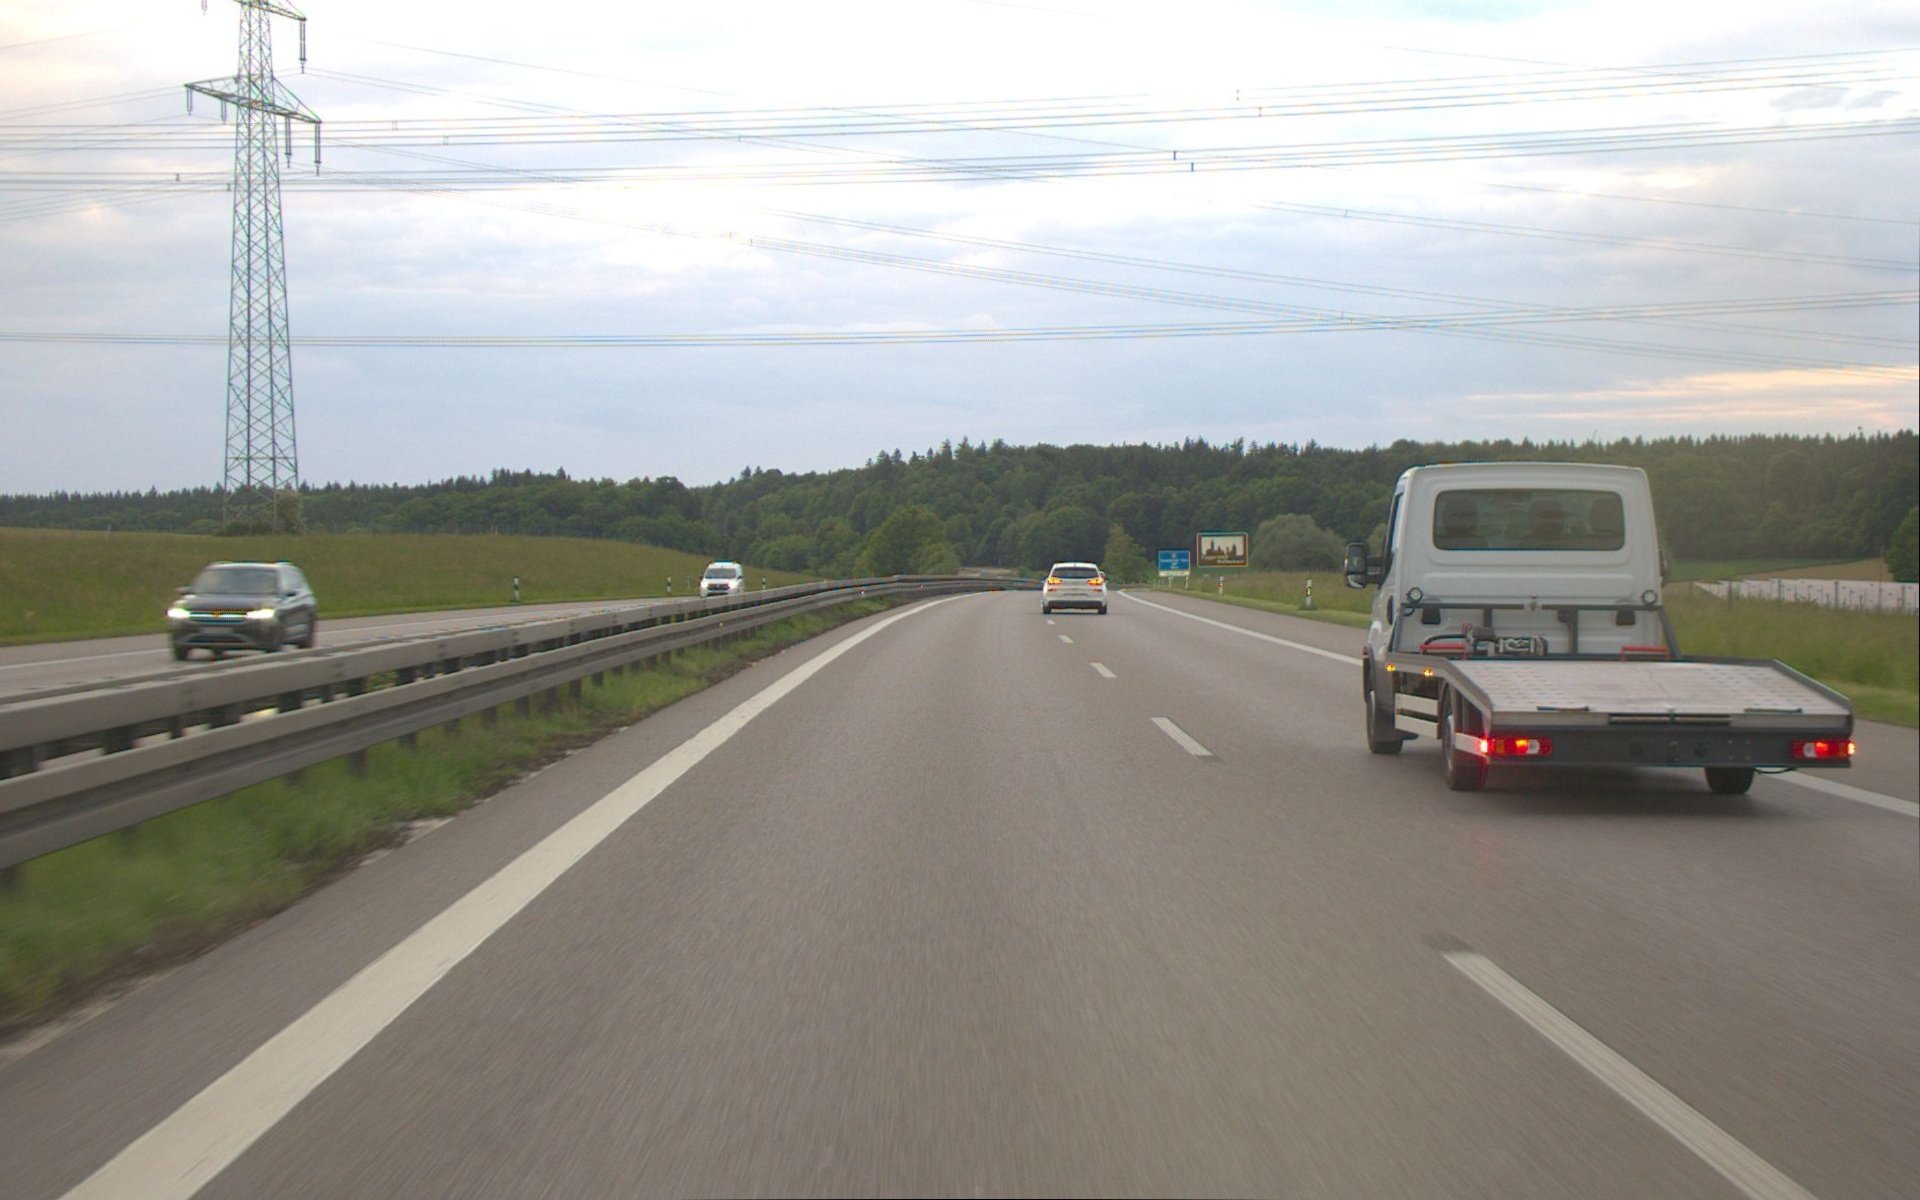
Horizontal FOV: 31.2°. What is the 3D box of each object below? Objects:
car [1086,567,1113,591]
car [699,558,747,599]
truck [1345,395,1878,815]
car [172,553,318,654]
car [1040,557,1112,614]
[{"bbox_3d":[10.585,-1.601,261.462,1.952,1.725,4.080,1,1,3],"label":"car"},{"bbox_3d":[-10.815,-0.992,157.141,1.760,1.796,4.994,-1,1,1],"label":"car"},{"bbox_3d":[4.146,-0.016,23.457,2.172,2.352,7.696,1,1,0],"label":"truck"},{"bbox_3d":[-12.417,0.033,59.953,1.697,1.658,4.464,1,1,-2],"label":"car"},{"bbox_3d":[3.257,-0.422,97.168,1.951,1.526,4.080,1,1,1],"label":"car"}]
